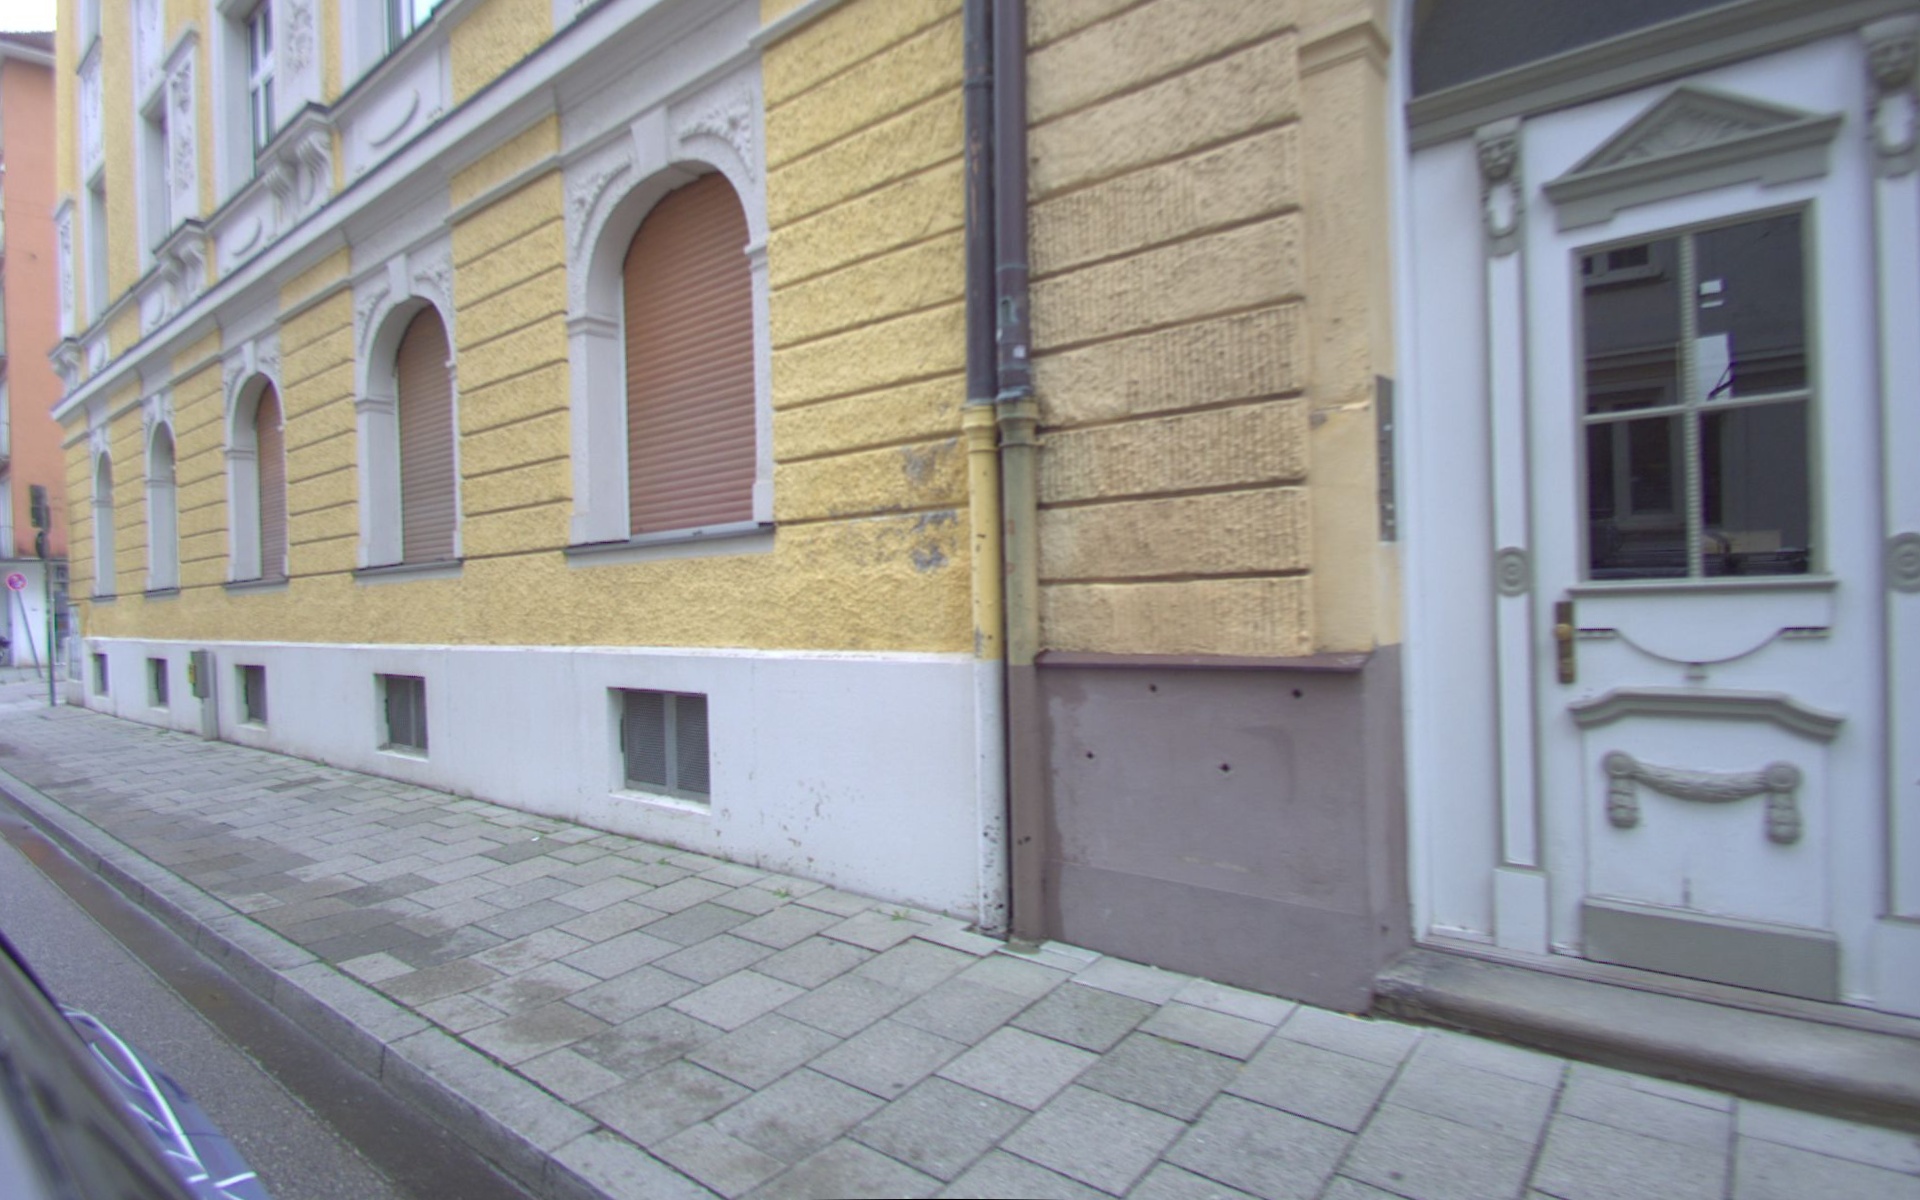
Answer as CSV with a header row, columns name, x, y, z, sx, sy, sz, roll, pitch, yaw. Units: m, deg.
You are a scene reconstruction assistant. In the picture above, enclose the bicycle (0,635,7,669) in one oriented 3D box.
name,x,y,z,sx,sy,sz,roll,pitch,yaw
bicycle,-27.084,1.455,28.316,1.512,0.936,0.465,-2,-1,41
